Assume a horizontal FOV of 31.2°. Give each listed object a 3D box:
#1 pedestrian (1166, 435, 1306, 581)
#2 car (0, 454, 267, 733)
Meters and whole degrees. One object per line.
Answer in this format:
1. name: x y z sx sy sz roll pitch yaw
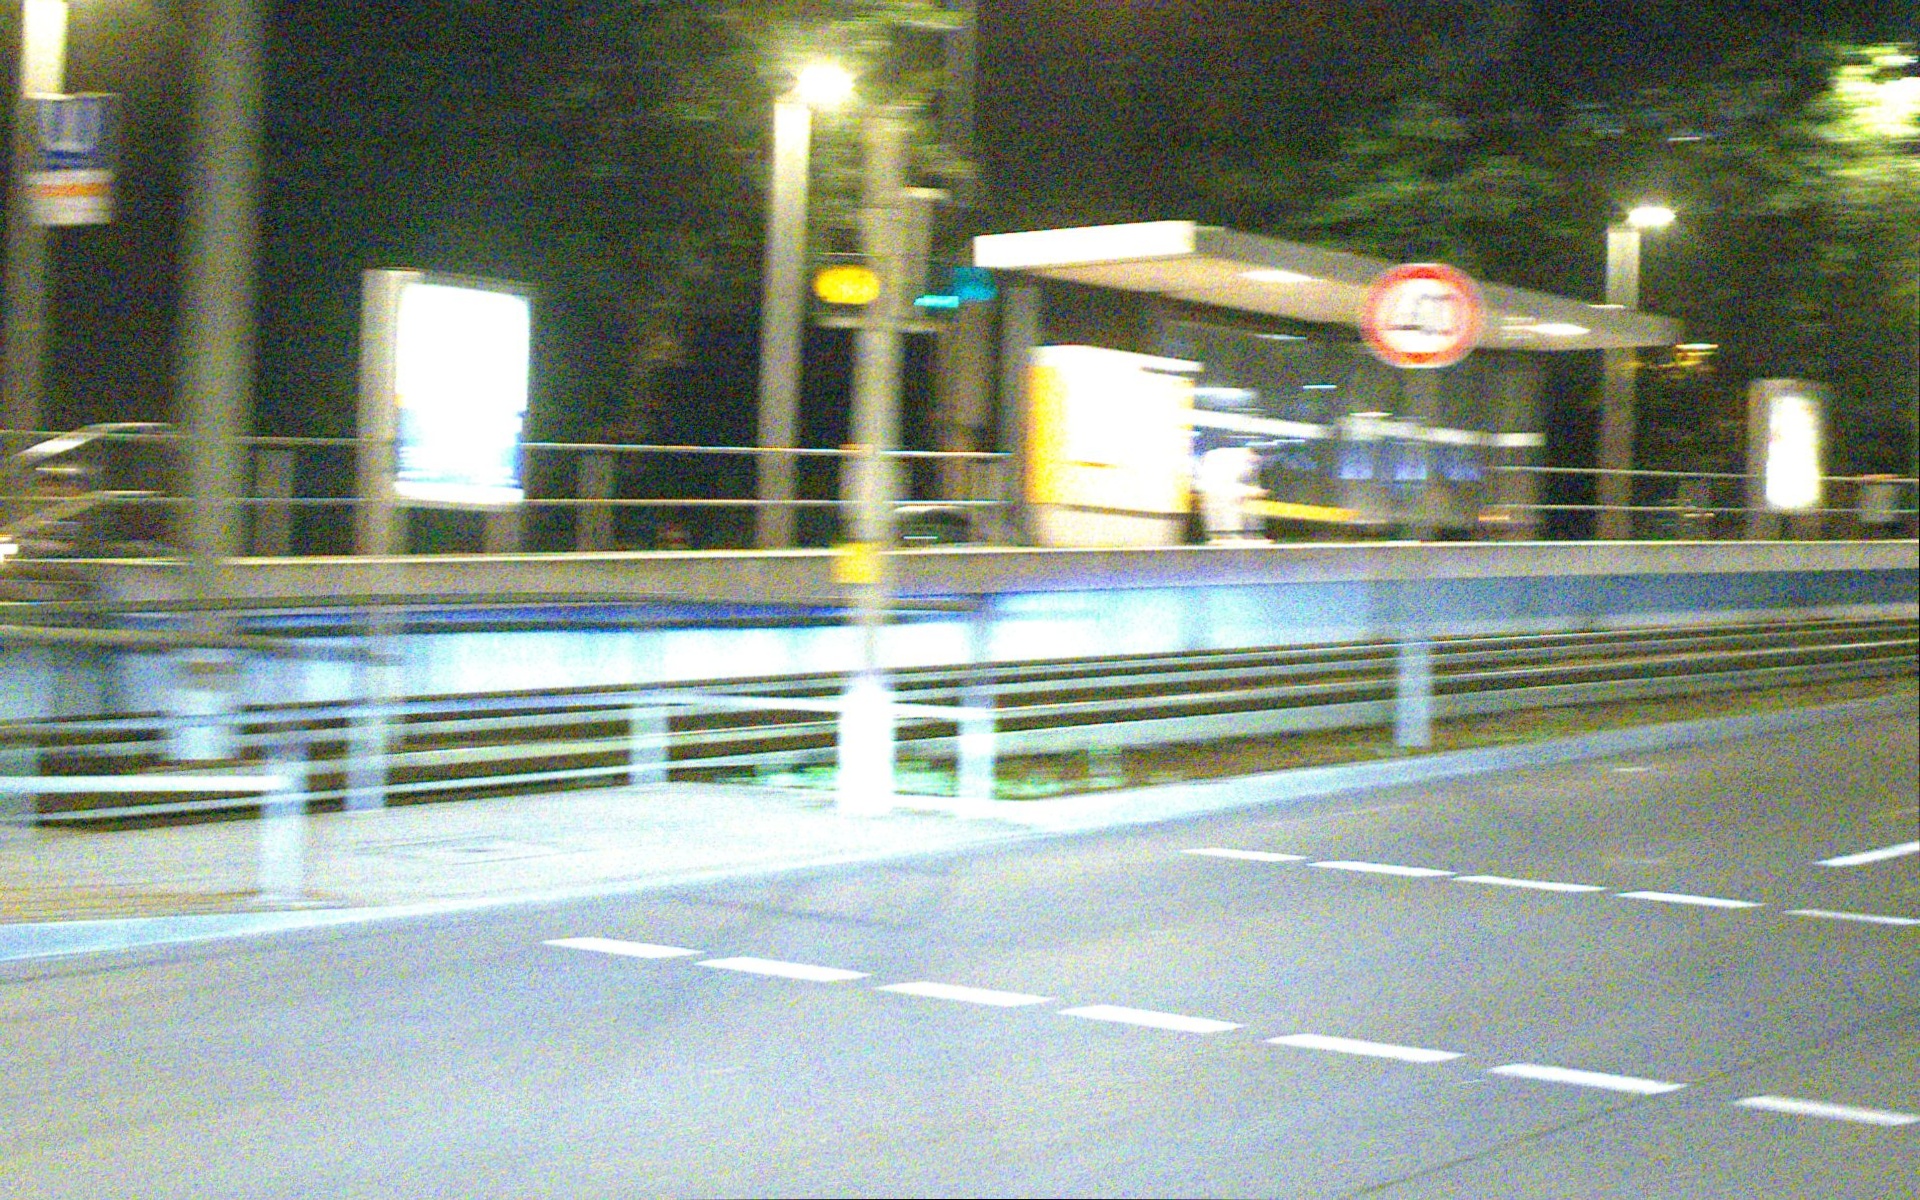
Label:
1. pedestrian: 2.873 -0.950 35.863 1.142 1.495 1.077 -1 1 -17
2. car: -7.499 -0.056 26.081 1.998 2.006 3.992 0 3 38
